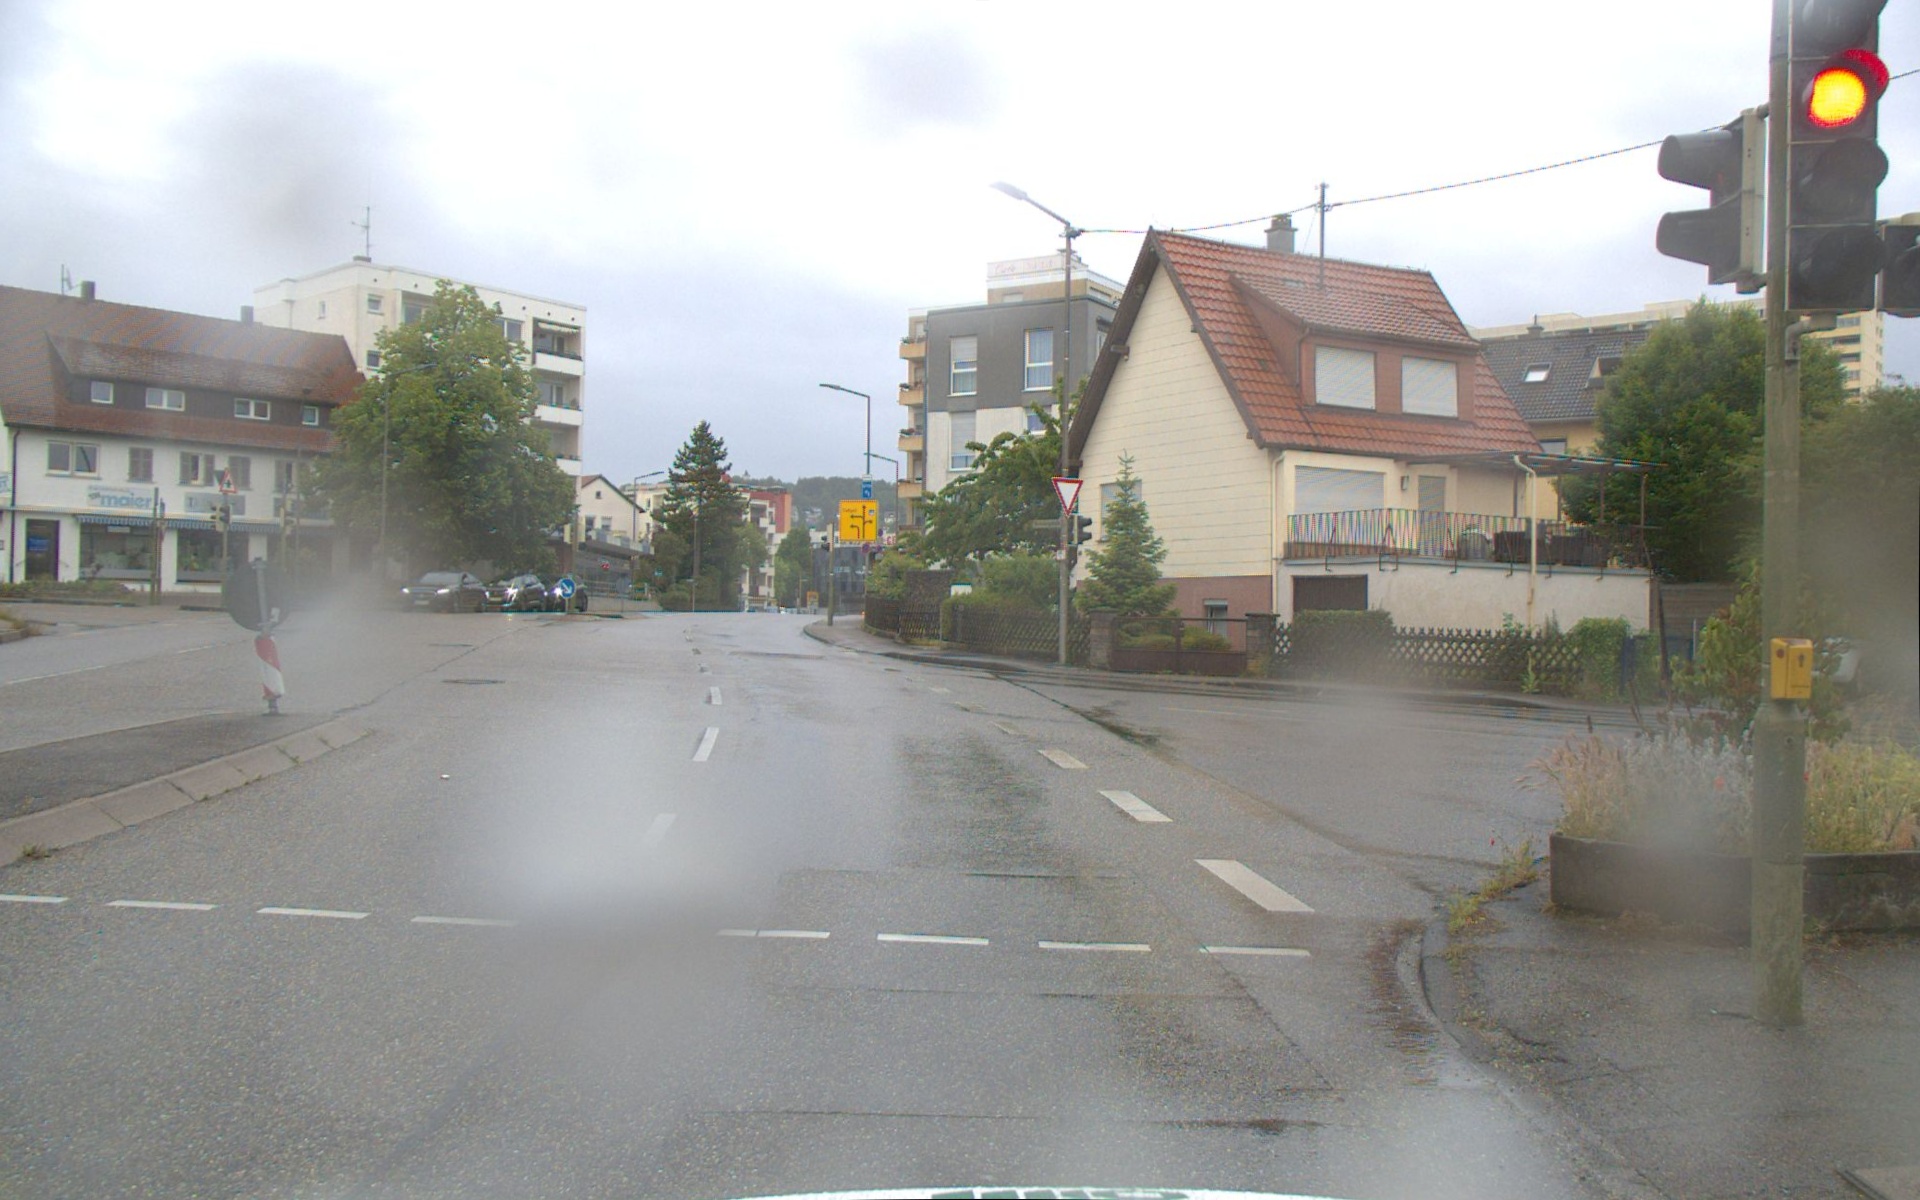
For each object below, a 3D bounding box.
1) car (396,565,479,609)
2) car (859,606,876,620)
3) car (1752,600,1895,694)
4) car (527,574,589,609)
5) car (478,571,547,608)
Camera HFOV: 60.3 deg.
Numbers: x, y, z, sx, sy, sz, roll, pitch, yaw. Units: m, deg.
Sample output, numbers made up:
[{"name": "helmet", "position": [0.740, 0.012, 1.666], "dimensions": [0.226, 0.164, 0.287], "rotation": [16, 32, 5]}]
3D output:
[{"name": "car", "position": [-18.255, -0.467, 57.932], "dimensions": [1.742, 1.445, 3.830], "rotation": [1, 1, -1]}, {"name": "car", "position": [-11.180, 1.564, 199.912], "dimensions": [1.776, 1.512, 4.189], "rotation": [0, 1, 0]}, {"name": "car", "position": [15.618, 0.794, 29.818], "dimensions": [1.710, 1.541, 3.985], "rotation": [1, 1, 36]}, {"name": "car", "position": [-17.265, -0.369, 71.169], "dimensions": [1.742, 1.445, 3.830], "rotation": [1, 1, -1]}, {"name": "car", "position": [-17.622, -0.422, 65.301], "dimensions": [1.680, 1.411, 4.020], "rotation": [1, 1, -1]}]
